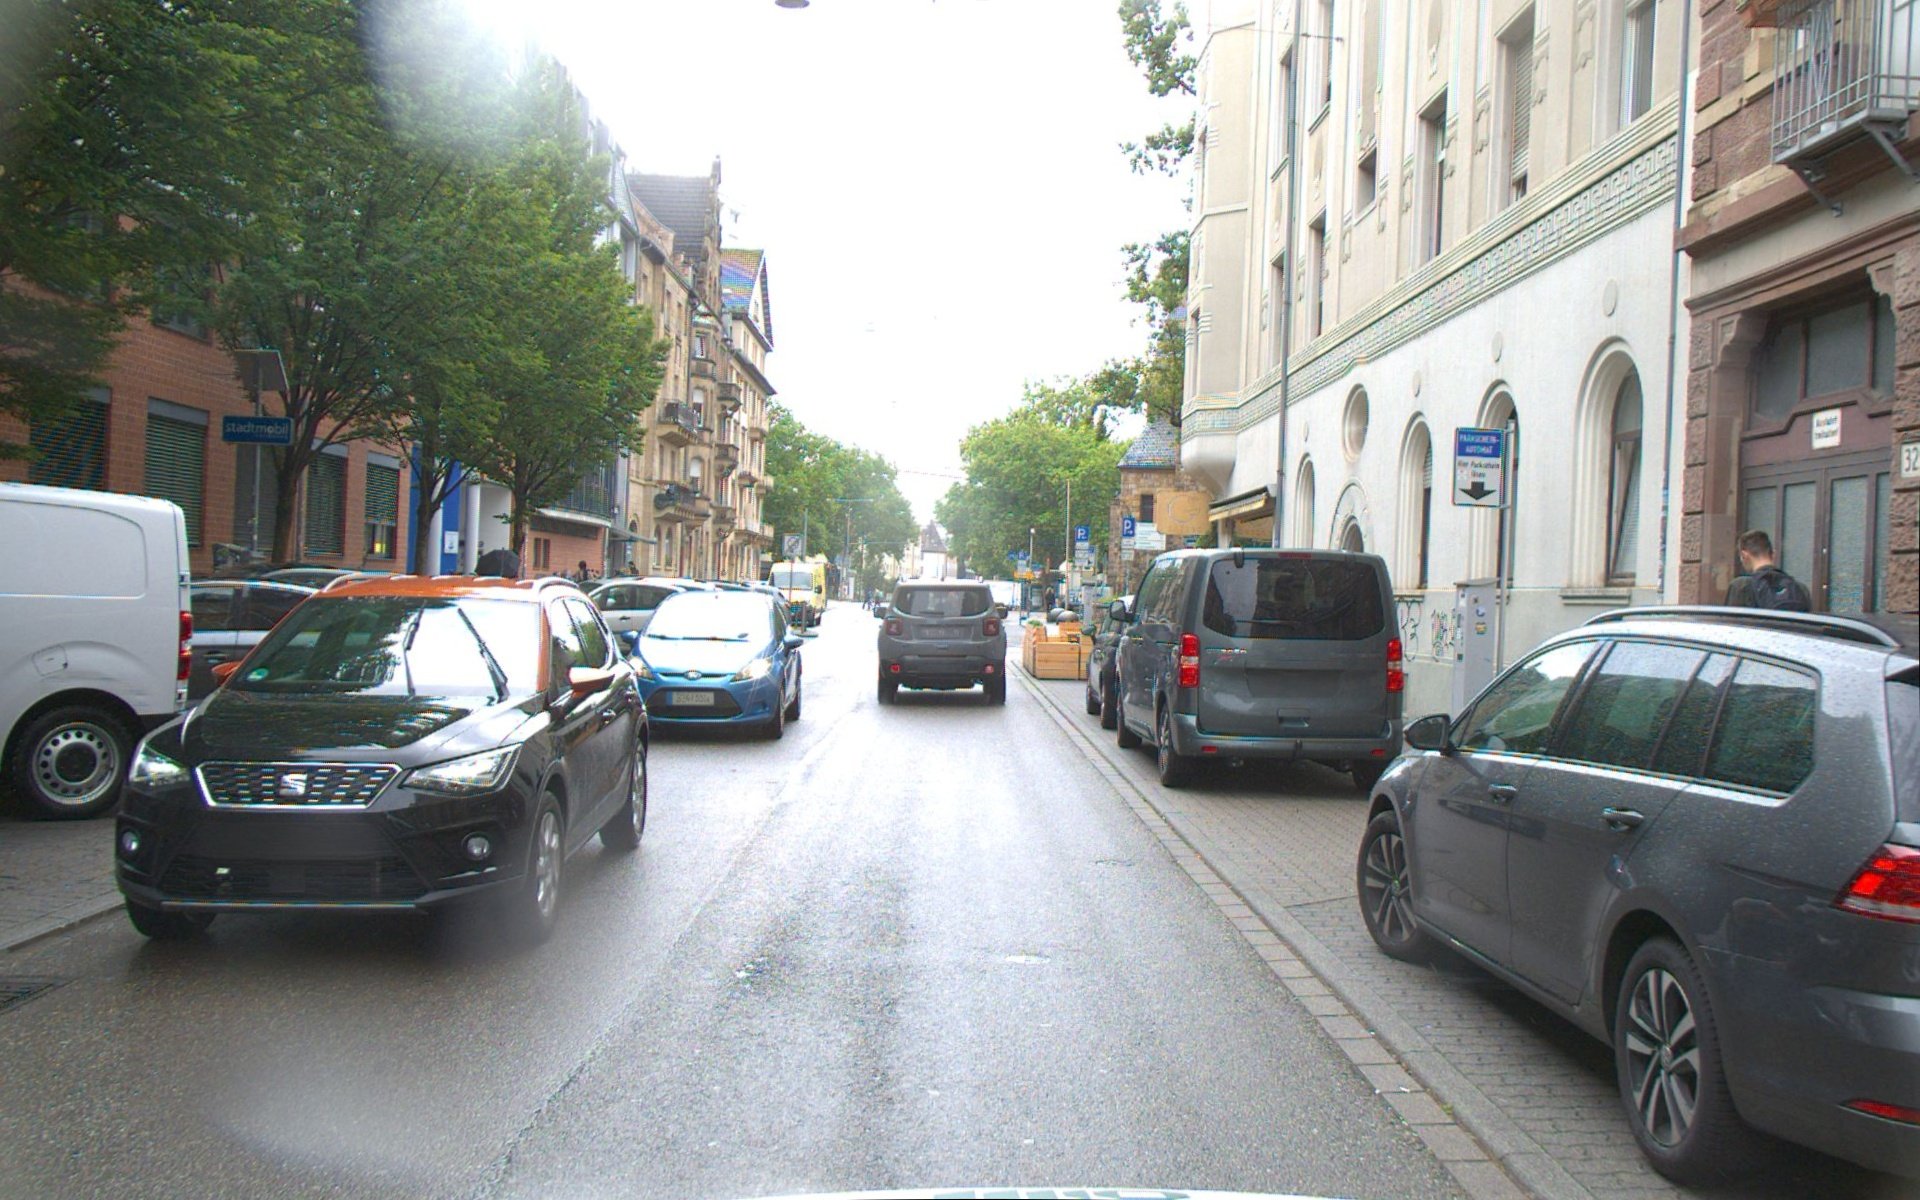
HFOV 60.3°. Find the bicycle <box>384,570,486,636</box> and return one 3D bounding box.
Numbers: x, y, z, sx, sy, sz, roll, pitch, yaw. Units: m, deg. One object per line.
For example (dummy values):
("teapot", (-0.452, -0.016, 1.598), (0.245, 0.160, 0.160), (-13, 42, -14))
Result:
("bicycle", (-11.039, 0.061, 34.834), (1.859, 1.172, 0.553), (6, 0, -4))

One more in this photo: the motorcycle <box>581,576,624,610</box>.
("motorcycle", (-13.606, -0.255, 63.021), (0.737, 1.194, 2.117), (4, 0, 11))

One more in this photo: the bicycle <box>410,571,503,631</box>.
("bicycle", (-11.587, 0.030, 38.127), (1.859, 1.172, 0.553), (6, 0, -4))

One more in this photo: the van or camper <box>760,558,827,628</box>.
("van or camper", (-6.713, -0.219, 67.212), (2.078, 2.575, 6.872), (-2, -2, -1))

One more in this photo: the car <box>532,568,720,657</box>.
("car", (-6.678, 0.246, 33.127), (3.345, 1.683, 1.615), (1, 0, -34))

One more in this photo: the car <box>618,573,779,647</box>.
("car", (-6.191, 0.241, 39.227), (3.342, 1.569, 1.663), (3, 0, -32))

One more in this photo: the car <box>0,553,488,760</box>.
("car", (-6.190, 0.467, 13.752), (3.943, 1.472, 1.742), (4, 0, -41))

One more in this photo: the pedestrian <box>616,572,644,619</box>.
("pedestrian", (-11.504, -0.144, 57.628), (0.694, 1.578, 0.608), (4, 0, 6))

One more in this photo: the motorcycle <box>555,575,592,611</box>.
("motorcycle", (-13.706, -0.260, 58.743), (0.738, 1.194, 2.115), (4, 0, 0))

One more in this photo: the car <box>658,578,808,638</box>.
("car", (-6.525, 0.226, 47.554), (3.780, 1.533, 1.968), (3, 0, -31))

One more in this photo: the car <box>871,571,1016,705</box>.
("car", (-0.279, 0.498, 23.930), (1.860, 1.700, 4.504), (2, 0, -2))

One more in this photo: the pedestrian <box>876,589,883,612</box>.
("pedestrian", (-5.647, 0.008, 116.343), (0.458, 1.613, 0.752), (2, 0, -2))

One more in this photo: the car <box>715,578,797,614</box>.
("car", (-10.197, -0.207, 82.906), (3.625, 1.586, 1.776), (4, -1, -37))

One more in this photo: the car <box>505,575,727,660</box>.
("car", (-6.331, 0.318, 30.552), (3.673, 1.477, 1.664), (1, 0, -36))

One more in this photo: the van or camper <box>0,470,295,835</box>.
("van or camper", (-6.564, 0.184, 9.314), (4.658, 1.986, 2.302), (4, 1, -43))

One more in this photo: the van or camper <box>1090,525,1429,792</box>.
("van or camper", (2.396, 0.415, 14.659), (1.980, 1.924, 5.054), (1, 0, -1))

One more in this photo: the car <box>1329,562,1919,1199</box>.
("car", (2.584, 0.733, 5.222), (1.804, 1.572, 4.002), (2, 0, -2))

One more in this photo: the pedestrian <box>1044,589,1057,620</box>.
("pedestrian", (5.187, 0.249, 95.196), (0.676, 1.741, 0.684), (1, 0, -1))

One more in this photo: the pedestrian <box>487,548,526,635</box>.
("pedestrian", (-9.298, -0.172, 33.895), (0.599, 1.737, 0.433), (2, -2, 0))

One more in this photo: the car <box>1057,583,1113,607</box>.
("car", (13.120, -0.550, 173.372), (5.781, 2.375, 2.060), (1, 0, 3))

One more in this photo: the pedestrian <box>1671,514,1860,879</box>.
("pedestrian", (4.579, 0.535, 9.445), (0.665, 1.968, 0.810), (2, -2, 1))

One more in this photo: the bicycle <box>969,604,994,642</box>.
("bicycle", (0.628, 0.676, 49.732), (0.690, 1.072, 1.812), (1, 0, 0))

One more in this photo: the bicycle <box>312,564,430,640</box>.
("bicycle", (-10.888, 0.036, 30.597), (1.859, 1.172, 0.553), (6, 0, -4))

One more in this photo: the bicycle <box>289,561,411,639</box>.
("bicycle", (-10.887, 0.006, 29.567), (1.859, 1.172, 0.553), (6, 0, -4))

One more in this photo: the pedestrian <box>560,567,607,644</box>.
("pedestrian", (-9.158, 0.136, 40.245), (0.808, 1.782, 0.757), (4, 0, 6))

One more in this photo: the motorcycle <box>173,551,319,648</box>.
("motorcycle", (-11.014, -0.015, 25.539), (1.844, 1.246, 0.657), (7, 0, 2))

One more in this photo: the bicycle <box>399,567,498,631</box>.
("bicycle", (-11.066, -0.019, 35.824), (1.859, 1.172, 0.553), (6, 0, -4))

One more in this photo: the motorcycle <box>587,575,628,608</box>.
("motorcycle", (-13.801, -0.344, 64.813), (0.560, 1.194, 1.780), (4, 0, 22))

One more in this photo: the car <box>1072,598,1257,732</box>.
("car", (2.371, 0.711, 19.996), (1.675, 1.425, 3.704), (1, 0, -1))

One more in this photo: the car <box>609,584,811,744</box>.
("car", (-2.569, 0.607, 17.815), (1.636, 1.491, 4.002), (2, 0, -2))

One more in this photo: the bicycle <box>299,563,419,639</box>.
("bicycle", (-10.936, 0.020, 30.124), (1.859, 1.172, 0.553), (6, 0, -4))

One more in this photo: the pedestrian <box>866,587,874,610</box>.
("pedestrian", (-6.272, -0.092, 115.556), (0.458, 1.613, 0.752), (2, 0, -2))

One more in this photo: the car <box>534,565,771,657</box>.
("car", (-6.685, 0.255, 36.078), (4.470, 1.566, 2.311), (6, -3, -34))

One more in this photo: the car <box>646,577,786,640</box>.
("car", (-6.594, 0.238, 44.768), (3.341, 1.533, 1.663), (3, 0, -31))

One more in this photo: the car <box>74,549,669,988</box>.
("car", (-2.535, 0.629, 8.165), (1.636, 1.586, 4.001), (2, 0, -3))

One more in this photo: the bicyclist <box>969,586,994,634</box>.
("bicyclist", (0.639, 0.298, 49.732), (0.690, 1.428, 1.171), (1, 0, -1))

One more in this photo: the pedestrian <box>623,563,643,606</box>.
("pedestrian", (-13.777, -0.646, 69.612), (0.652, 1.788, 0.790), (1, 0, -24))

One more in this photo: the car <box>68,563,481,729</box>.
("car", (-6.736, 0.416, 16.434), (3.453, 1.460, 1.625), (1, 0, -44))

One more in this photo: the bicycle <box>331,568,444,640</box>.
("bicycle", (-11.048, 0.071, 31.959), (1.859, 1.172, 0.553), (6, 0, -4))

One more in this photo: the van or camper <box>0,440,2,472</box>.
("van or camper", (-6.122, 0.214, 5.999), (4.395, 2.009, 1.761), (4, -1, -34))

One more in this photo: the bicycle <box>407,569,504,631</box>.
("bicycle", (-11.124, 0.000, 36.535), (1.859, 1.172, 0.553), (6, 0, -4))

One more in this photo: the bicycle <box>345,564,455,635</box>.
("bicycle", (-11.025, -0.006, 32.585), (1.859, 1.172, 0.553), (6, 0, -4))
